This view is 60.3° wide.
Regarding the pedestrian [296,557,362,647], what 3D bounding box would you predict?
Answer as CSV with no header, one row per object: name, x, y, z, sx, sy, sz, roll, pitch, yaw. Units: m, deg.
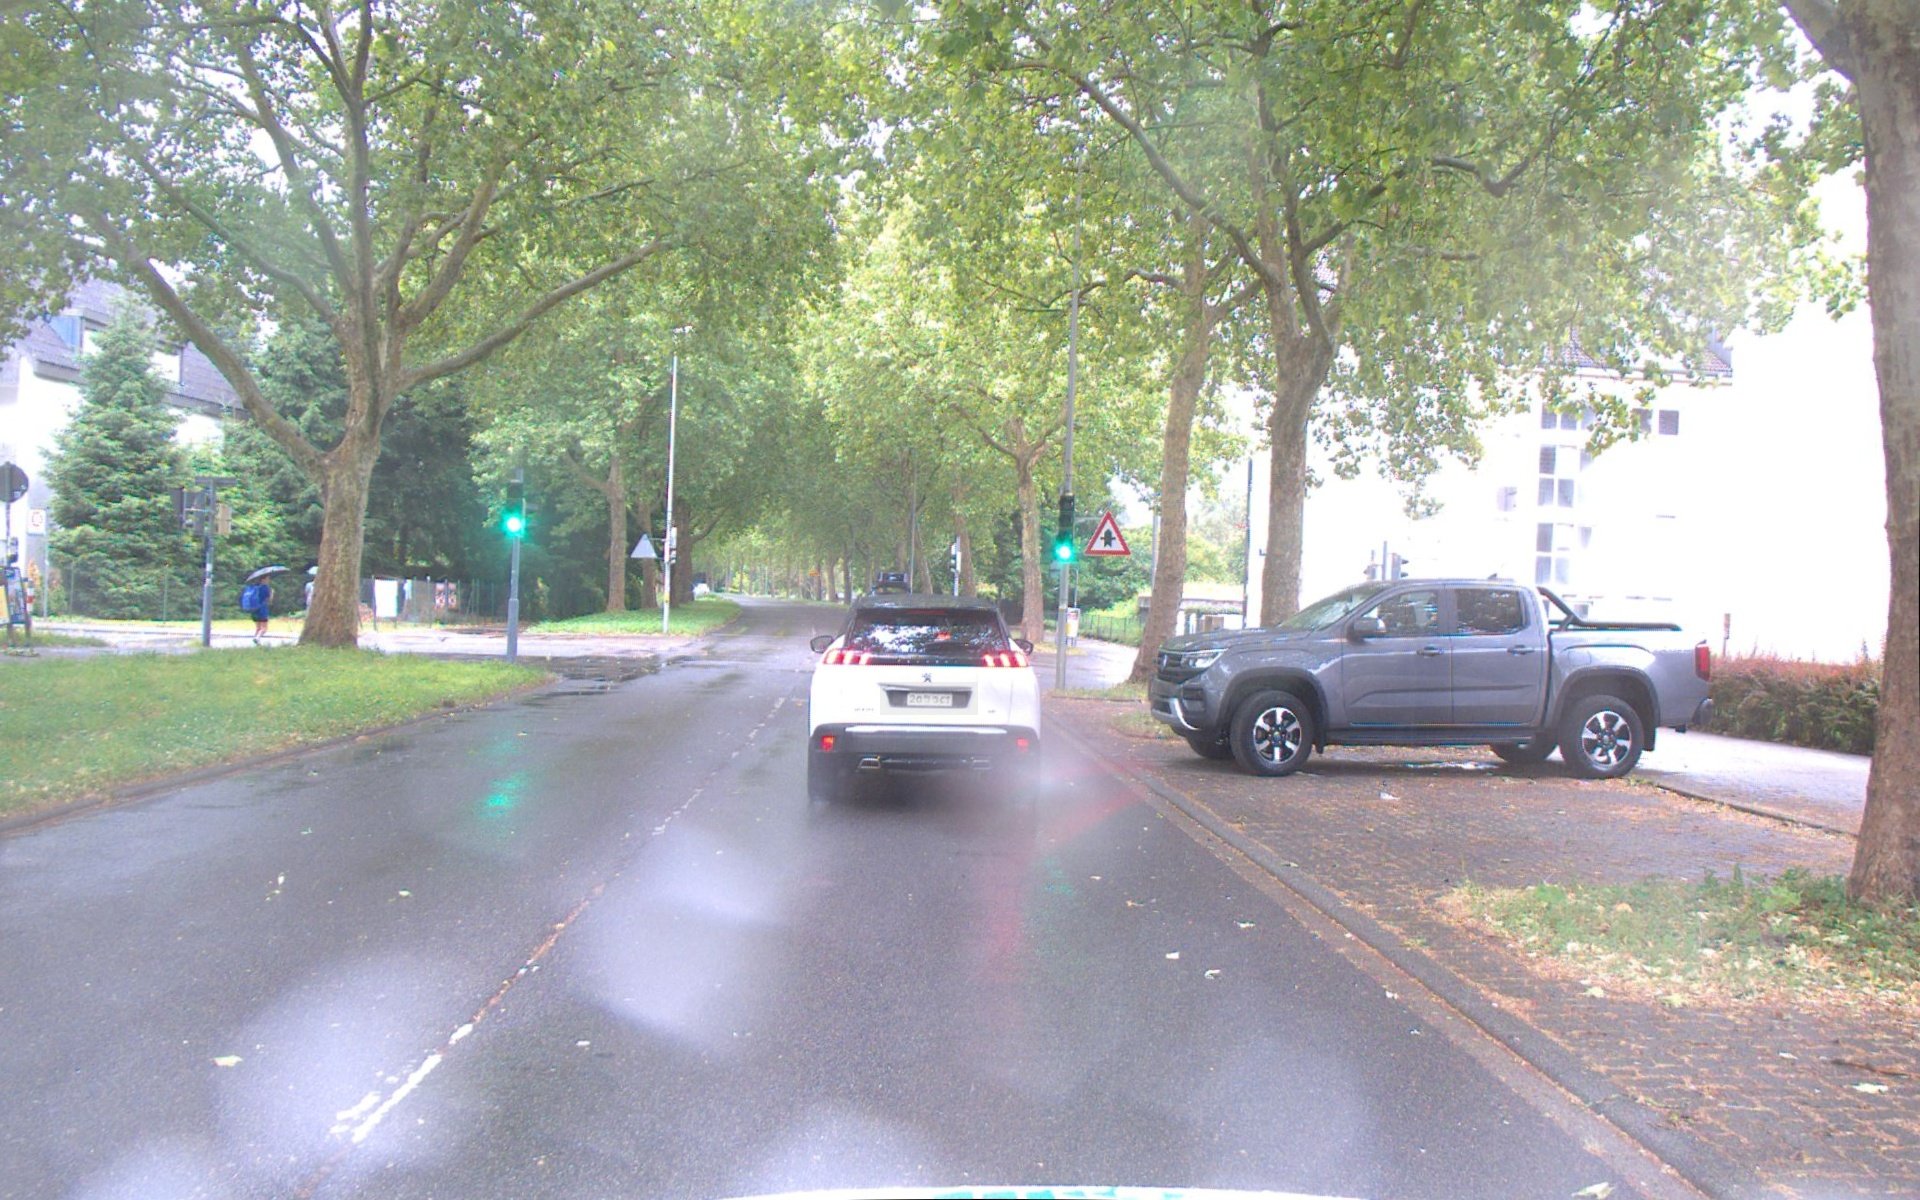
pedestrian,-12.935,0.043,33.919,1.012,1.796,0.838,1,0,-1

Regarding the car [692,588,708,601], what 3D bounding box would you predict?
car,-36.271,-0.754,230.498,1.837,1.706,3.704,2,0,-5

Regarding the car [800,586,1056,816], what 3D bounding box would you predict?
car,-0.261,0.702,13.516,1.744,1.563,4.056,1,0,-1

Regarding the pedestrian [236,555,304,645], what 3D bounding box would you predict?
pedestrian,-14.177,-0.005,34.007,1.012,1.796,0.879,1,0,-1

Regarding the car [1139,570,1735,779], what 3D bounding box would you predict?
car,4.514,0.694,15.984,5.238,1.838,1.842,1,0,-8

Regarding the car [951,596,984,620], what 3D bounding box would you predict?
car,0.495,0.534,111.702,1.868,1.536,3.927,2,0,-5
